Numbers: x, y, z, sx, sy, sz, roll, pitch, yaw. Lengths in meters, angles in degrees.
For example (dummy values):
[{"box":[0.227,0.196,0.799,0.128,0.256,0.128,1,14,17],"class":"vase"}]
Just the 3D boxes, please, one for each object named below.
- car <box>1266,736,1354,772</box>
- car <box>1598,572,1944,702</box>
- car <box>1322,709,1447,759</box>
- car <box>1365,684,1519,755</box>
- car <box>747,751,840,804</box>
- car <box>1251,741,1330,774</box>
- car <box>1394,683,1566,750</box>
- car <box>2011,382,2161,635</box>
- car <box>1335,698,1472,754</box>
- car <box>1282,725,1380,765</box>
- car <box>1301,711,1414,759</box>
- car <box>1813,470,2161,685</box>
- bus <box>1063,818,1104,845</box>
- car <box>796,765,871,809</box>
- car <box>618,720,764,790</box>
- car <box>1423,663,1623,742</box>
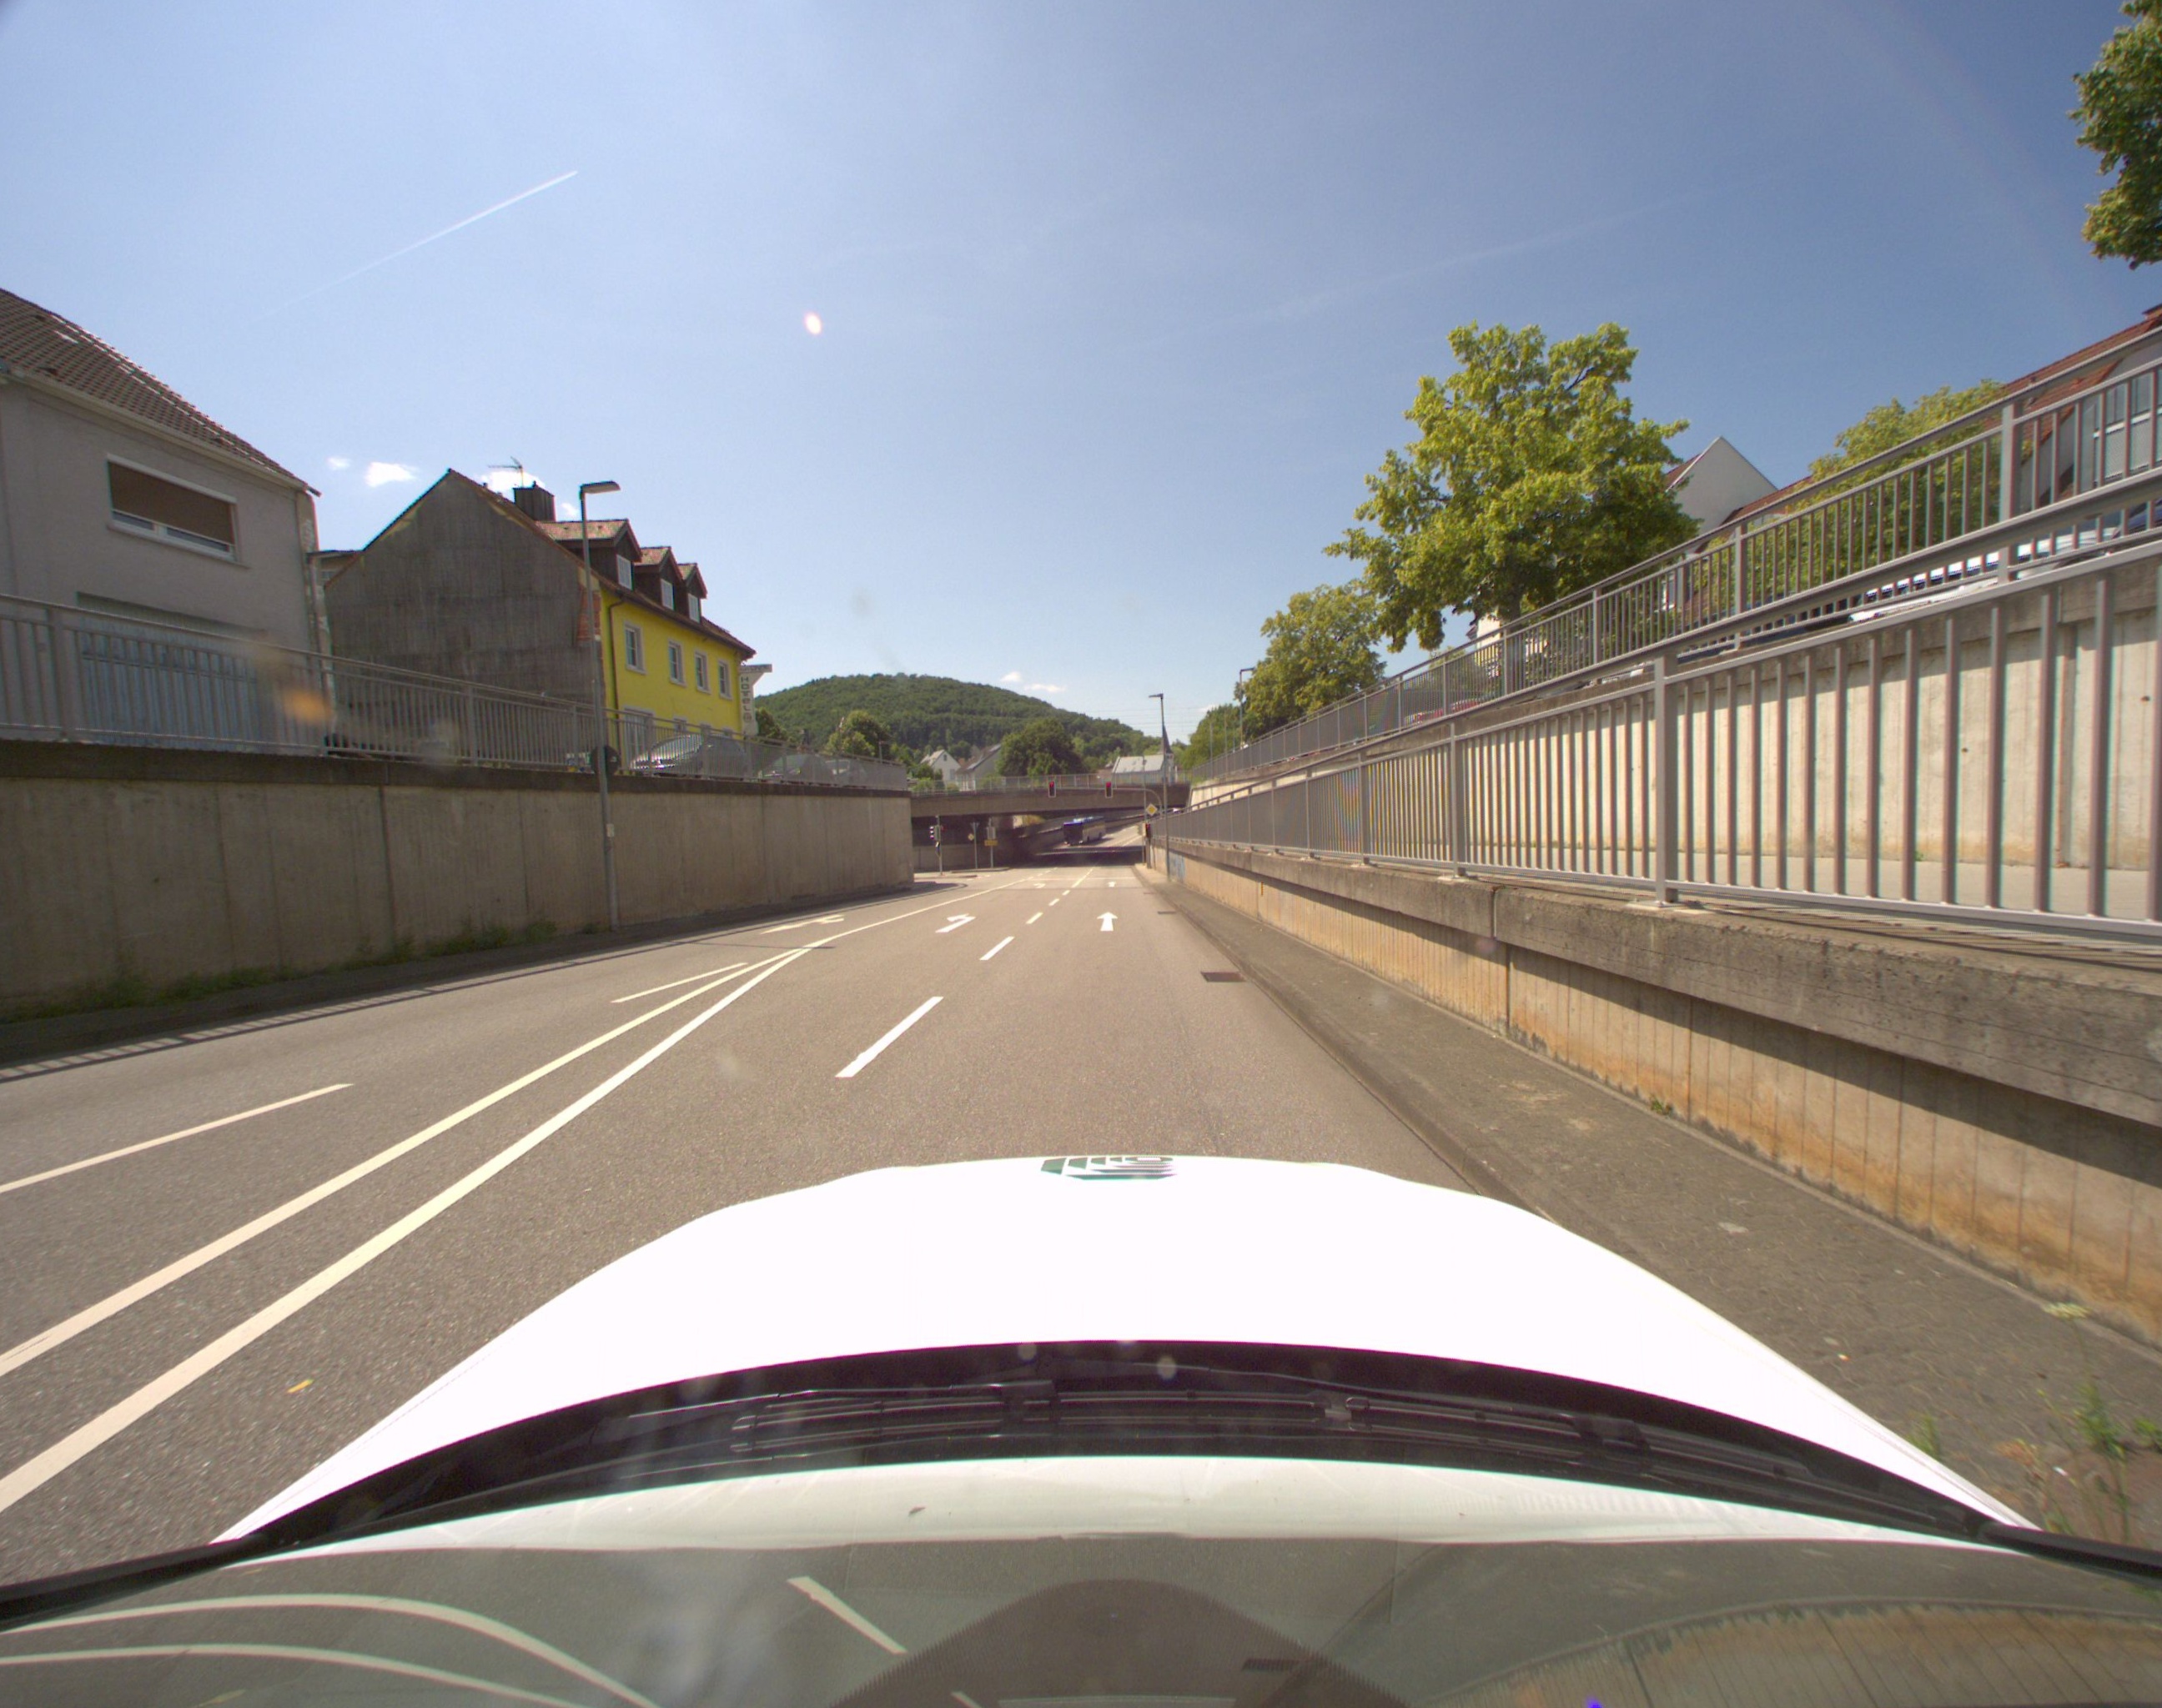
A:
[{"box":[11.358,-4.945,40.612,3.968,1.486,1.772,-1,0,5],"class":"car"},{"box":[10.918,-3.415,13.141,3.968,1.486,1.772,-1,0,5],"class":"car"},{"box":[11.112,-4.391,30.024,3.968,1.486,1.772,-1,0,5],"class":"car"},{"box":[11.028,-4.112,25.107,3.968,1.770,1.772,-1,0,5],"class":"car"},{"box":[-10.448,-2.743,29.947,1.816,1.705,4.223,-2,2,0],"class":"car"},{"box":[11.435,-5.295,44.732,3.968,1.486,1.772,-1,0,5],"class":"car"},{"box":[11.087,-3.816,22.866,3.968,1.486,1.772,-1,0,5],"class":"car"},{"box":[9.801,-2.671,5.898,3.968,1.555,1.727,-1,0,4],"class":"car"},{"box":[10.840,-4.295,27.584,3.968,1.486,1.772,-1,0,5],"class":"car"},{"box":[11.266,-4.920,36.937,3.968,1.486,1.772,-1,0,5],"class":"car"},{"box":[11.019,-4.723,32.620,3.968,1.567,1.772,-1,0,5],"class":"car"},{"box":[10.220,-2.728,8.238,3.968,1.555,1.727,-1,0,4],"class":"car"},{"box":[0.457,-3.025,107.252,2.563,3.172,12.424,-1,2,13],"class":"bus"},{"box":[-10.462,-2.817,34.717,1.896,1.667,4.001,-2,2,1],"class":"car"},{"box":[-10.513,-2.616,22.354,1.792,1.524,4.394,-2,2,0],"class":"car"},{"box":[10.791,-3.693,20.106,3.968,1.486,1.772,-1,0,5],"class":"car"}]
